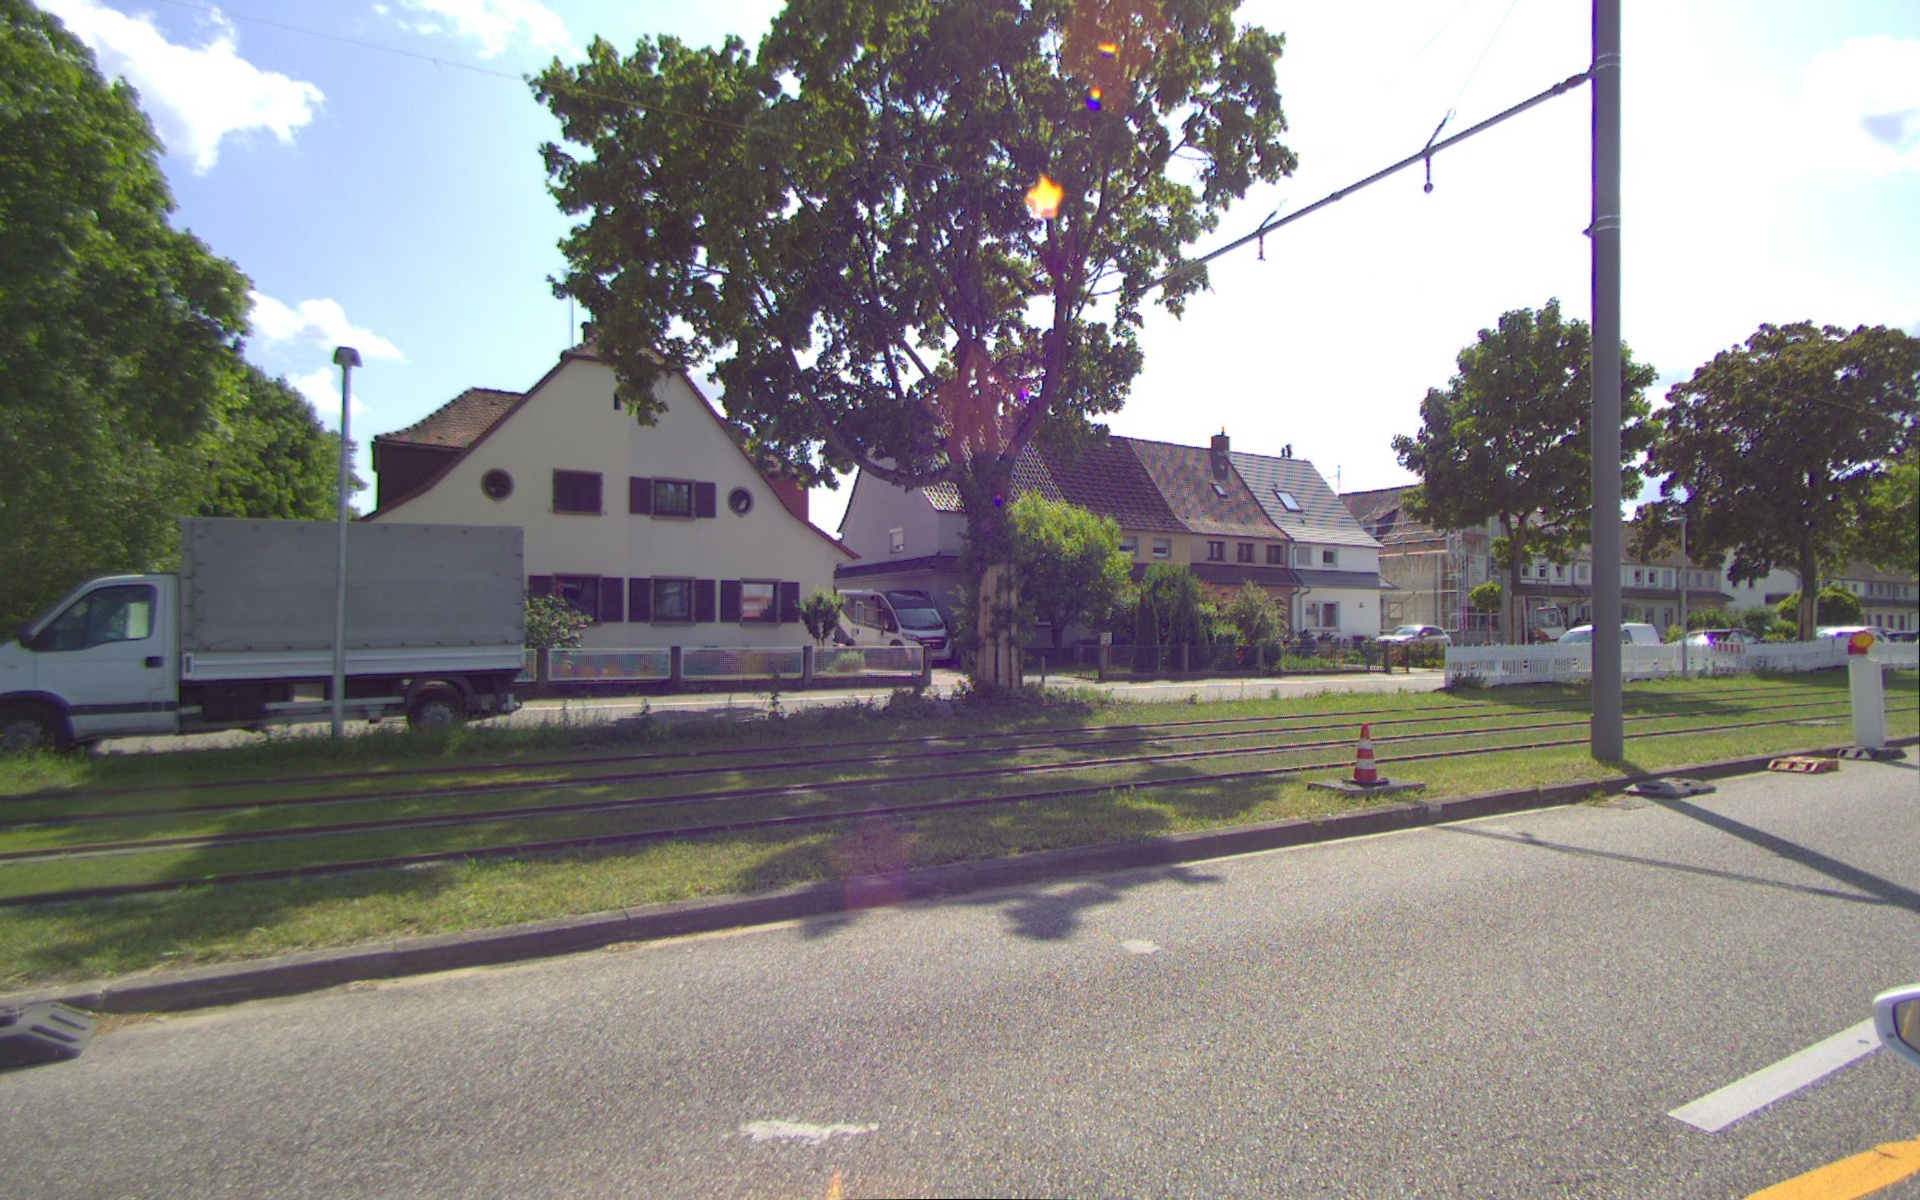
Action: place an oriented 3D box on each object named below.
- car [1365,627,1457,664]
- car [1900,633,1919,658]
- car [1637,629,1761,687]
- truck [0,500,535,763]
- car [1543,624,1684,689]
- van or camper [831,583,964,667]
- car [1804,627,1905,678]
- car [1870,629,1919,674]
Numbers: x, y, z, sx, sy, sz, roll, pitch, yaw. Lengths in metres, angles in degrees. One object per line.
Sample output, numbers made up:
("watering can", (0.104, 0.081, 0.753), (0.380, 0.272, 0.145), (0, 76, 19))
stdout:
("car", (20.001, 1.986, 44.494), (3.952, 1.539, 1.768), (1, -2, -30))
("car", (70.042, 3.301, 72.745), (4.079, 1.745, 1.768), (1, -2, -30))
("car", (24.302, 1.861, 32.999), (4.177, 1.797, 1.768), (1, -2, -30))
("truck", (-8.823, 0.398, 12.969), (5.906, 2.817, 2.255), (1, -2, -31))
("car", (19.567, 1.640, 30.051), (4.312, 1.845, 1.768), (1, -2, -30))
("van or camper", (-2.403, 0.932, 36.625), (2.269, 2.801, 6.051), (1, -2, -32))
("car", (35.311, 2.027, 39.639), (4.079, 1.892, 1.768), (1, -2, -30))
("car", (40.657, 2.161, 42.695), (4.079, 1.829, 1.768), (1, -2, -30))
